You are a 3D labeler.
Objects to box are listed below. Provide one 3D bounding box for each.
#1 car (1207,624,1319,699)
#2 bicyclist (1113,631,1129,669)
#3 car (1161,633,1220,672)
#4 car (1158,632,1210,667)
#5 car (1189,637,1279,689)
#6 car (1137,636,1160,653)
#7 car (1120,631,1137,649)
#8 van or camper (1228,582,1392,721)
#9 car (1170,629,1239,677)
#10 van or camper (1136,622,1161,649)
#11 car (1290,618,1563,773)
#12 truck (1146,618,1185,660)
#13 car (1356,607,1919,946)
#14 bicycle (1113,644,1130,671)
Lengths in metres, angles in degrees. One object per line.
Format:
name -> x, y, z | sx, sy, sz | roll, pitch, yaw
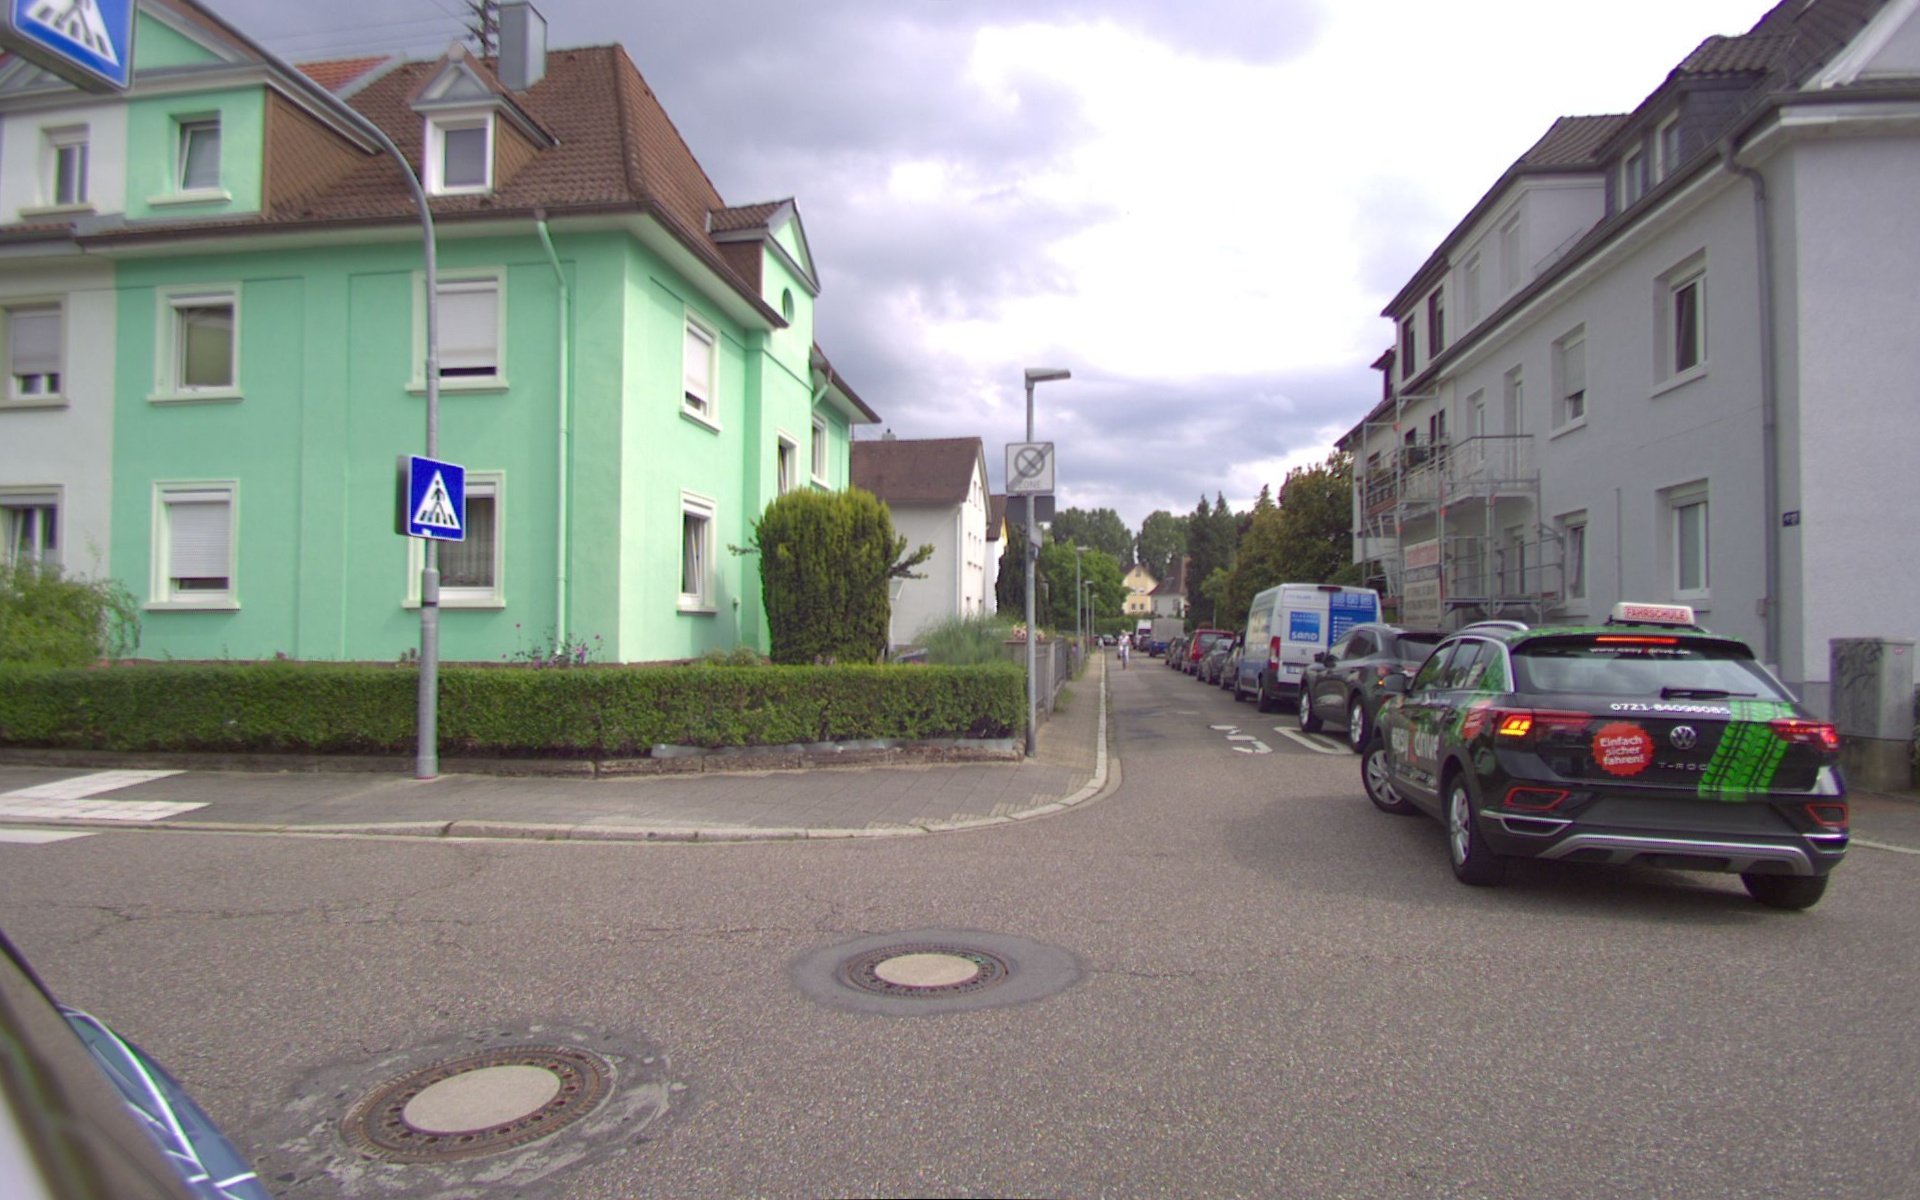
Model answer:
car -> 7.826, 1.543, 26.541 | 1.975, 1.785, 4.334 | 0, -2, 6
bicyclist -> 7.247, 2.263, 45.602 | 0.691, 1.679, 0.972 | -2, -3, 9
car -> 10.044, 2.261, 44.383 | 1.975, 1.603, 4.334 | 0, -2, 6
car -> 11.037, 2.415, 50.129 | 1.975, 1.603, 4.334 | 0, -2, 6
car -> 8.449, 1.909, 31.542 | 1.975, 1.466, 4.334 | 0, -2, 6
car -> 16.065, 3.750, 86.458 | 1.806, 1.386, 3.988 | 0, -2, 9
car -> 19.989, 4.726, 120.059 | 1.844, 2.029, 3.986 | -1, -3, 11
van or camper -> 6.950, 0.988, 20.732 | 2.173, 2.478, 5.042 | 0, -2, 8
car -> 9.410, 1.994, 39.283 | 1.975, 1.763, 4.334 | 0, -2, 6
van or camper -> 18.366, 3.473, 98.856 | 2.124, 2.561, 5.001 | 0, -2, 8
car -> 5.970, 1.133, 13.611 | 1.975, 1.740, 4.334 | 0, -2, 6
truck -> 13.478, 2.555, 66.631 | 2.111, 2.677, 4.575 | 0, -2, 6
car -> 3.954, 0.900, 6.805 | 1.804, 1.531, 4.026 | 0, -3, 13
bicycle -> 7.241, 2.564, 45.543 | 0.699, 1.161, 1.868 | -1, -2, 8
